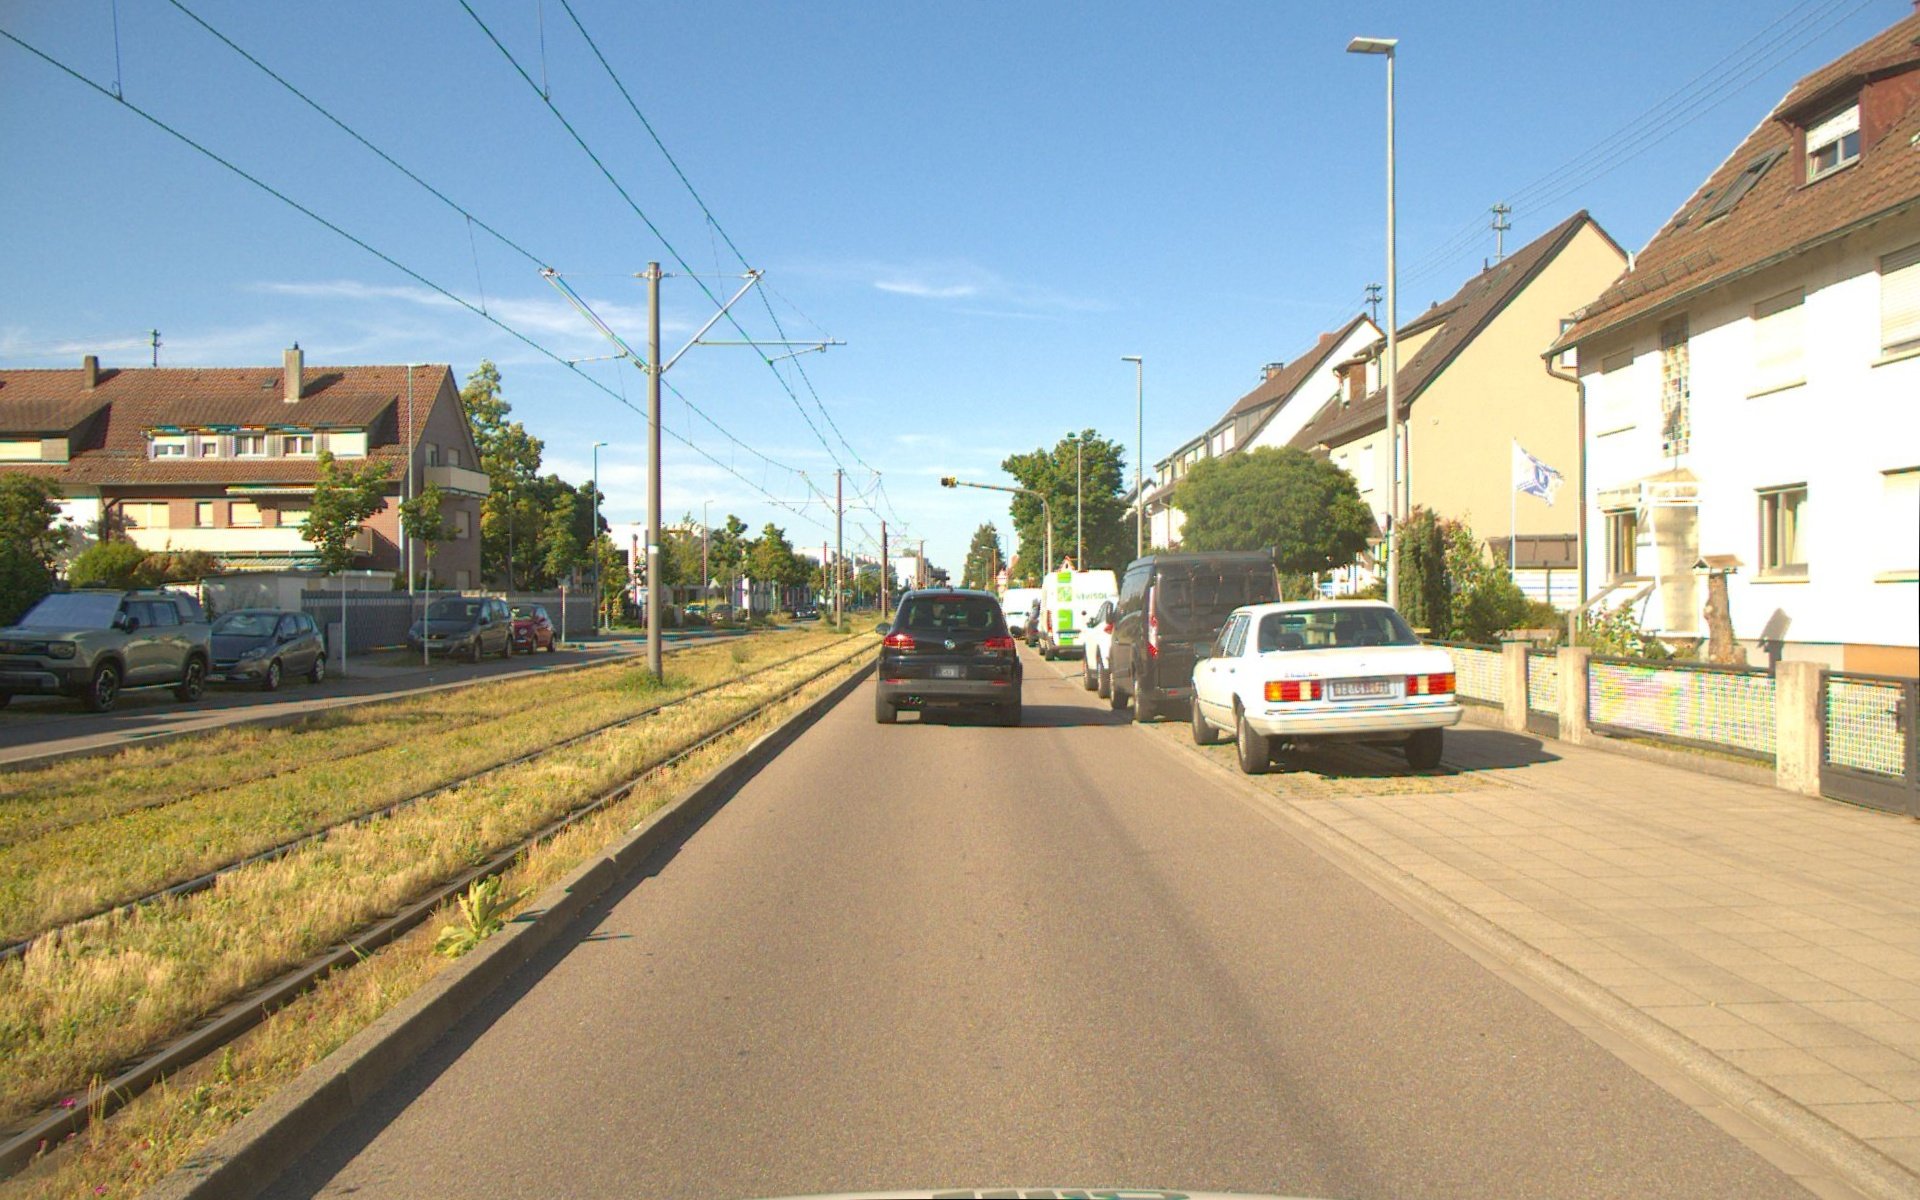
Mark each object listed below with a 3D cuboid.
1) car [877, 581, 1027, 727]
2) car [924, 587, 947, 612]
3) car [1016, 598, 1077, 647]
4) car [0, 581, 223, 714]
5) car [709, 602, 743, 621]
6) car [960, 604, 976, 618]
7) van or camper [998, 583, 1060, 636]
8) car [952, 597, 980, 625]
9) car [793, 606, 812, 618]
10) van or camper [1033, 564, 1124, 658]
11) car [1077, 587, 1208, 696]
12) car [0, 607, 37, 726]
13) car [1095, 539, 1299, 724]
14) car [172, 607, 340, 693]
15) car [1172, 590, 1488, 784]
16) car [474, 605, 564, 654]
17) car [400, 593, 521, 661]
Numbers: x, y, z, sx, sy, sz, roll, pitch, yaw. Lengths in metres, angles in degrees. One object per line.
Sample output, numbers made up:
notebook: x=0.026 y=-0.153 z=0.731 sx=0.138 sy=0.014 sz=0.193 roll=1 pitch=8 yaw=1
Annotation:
car: x=-0.165 y=0.647 z=21.514 sx=1.740 sy=1.699 sz=3.998 roll=1 pitch=0 yaw=-2
car: x=-2.620 y=-0.024 z=177.825 sx=2.345 sy=2.609 sz=5.529 roll=0 pitch=0 yaw=0
car: x=2.863 y=0.745 z=55.490 sx=1.713 sy=1.520 sz=5.154 roll=-2 pitch=0 yaw=0
car: x=-13.444 y=0.669 z=25.794 sx=1.709 sy=1.855 sz=4.841 roll=1 pitch=0 yaw=0
car: x=-18.526 y=0.916 z=130.982 sx=1.772 sy=1.486 sz=4.319 roll=1 pitch=0 yaw=4
car: x=1.000 y=1.366 z=208.949 sx=1.740 sy=1.699 sz=3.998 roll=0 pitch=0 yaw=-2
van or camper: x=2.814 y=0.340 z=65.922 sx=1.985 sy=1.990 sz=5.299 roll=-1 pitch=0 yaw=7
car: x=0.381 y=0.710 z=112.983 sx=1.596 sy=1.860 sz=4.127 roll=-1 pitch=0 yaw=-5
car: x=-18.462 y=1.414 z=194.280 sx=1.653 sy=1.413 sz=4.388 roll=-2 pitch=0 yaw=1
van or camper: x=3.140 y=0.290 z=45.102 sx=1.953 sy=2.310 sz=6.304 roll=-2 pitch=0 yaw=0
car: x=3.048 y=0.660 z=28.372 sx=1.690 sy=1.674 sz=4.318 roll=-1 pitch=0 yaw=-1
car: x=-13.637 y=0.857 z=20.424 sx=1.920 sy=1.567 sz=4.556 roll=1 pitch=0 yaw=-1
car: x=3.078 y=0.385 z=22.610 sx=1.920 sy=2.181 sz=5.334 roll=-1 pitch=0 yaw=-1
car: x=-13.548 y=0.914 z=32.082 sx=1.642 sy=1.517 sz=4.048 roll=1 pitch=0 yaw=-3
car: x=3.314 y=0.686 z=15.998 sx=1.814 sy=1.469 sz=5.614 roll=-2 pitch=0 yaw=1
car: x=-13.591 y=0.885 z=51.160 sx=1.660 sy=1.429 sz=4.078 roll=-1 pitch=0 yaw=0
car: x=-13.515 y=0.694 z=45.072 sx=1.782 sy=1.714 sz=4.846 roll=1 pitch=0 yaw=0
